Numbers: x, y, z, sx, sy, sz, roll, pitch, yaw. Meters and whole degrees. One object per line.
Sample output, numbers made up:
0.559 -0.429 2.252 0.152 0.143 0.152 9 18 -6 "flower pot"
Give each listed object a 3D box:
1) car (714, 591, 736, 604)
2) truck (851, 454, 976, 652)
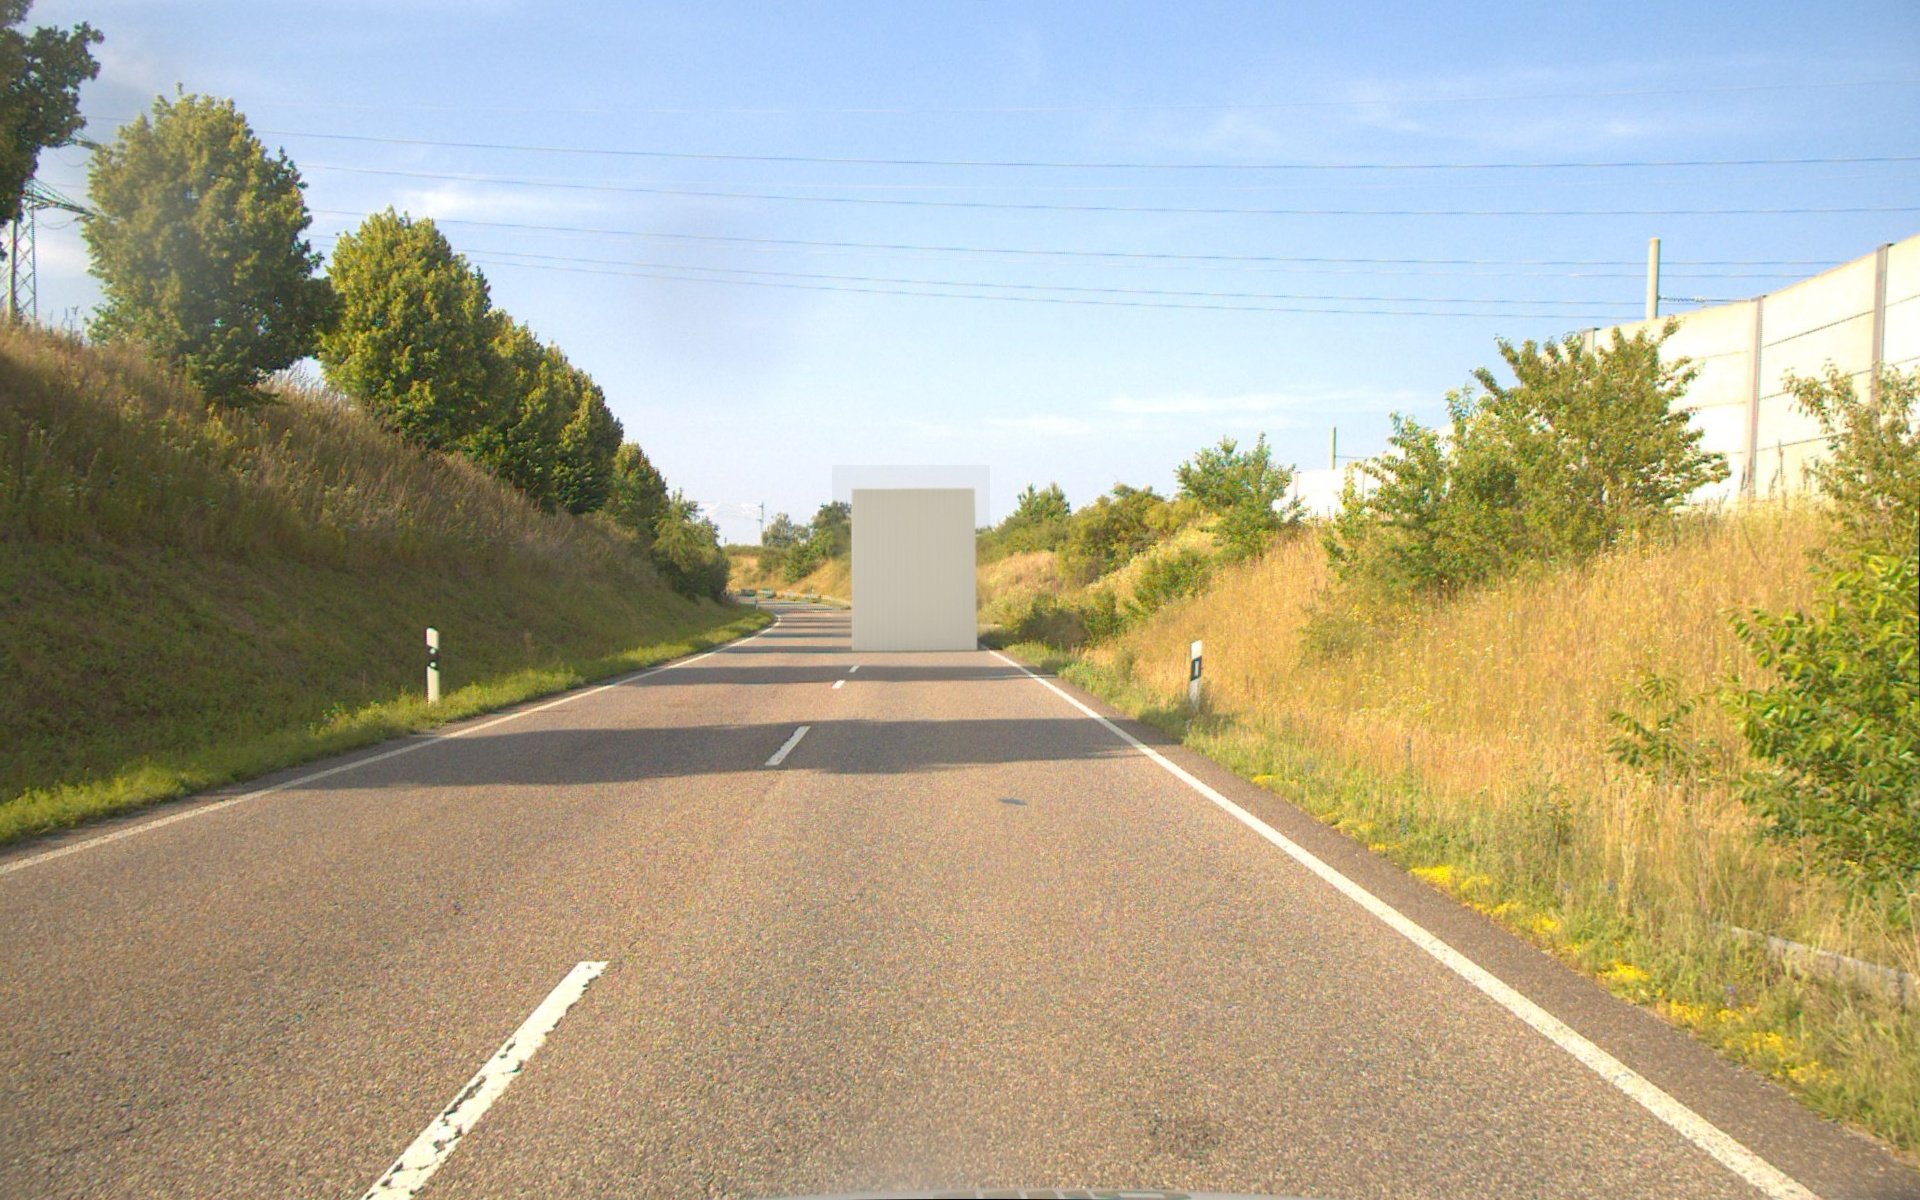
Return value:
-29.811 -0.302 209.846 2.004 1.609 4.360 1 0 0 "car"
-1.356 -1.261 49.550 3.224 5.179 12.034 1 0 -1 "truck"
